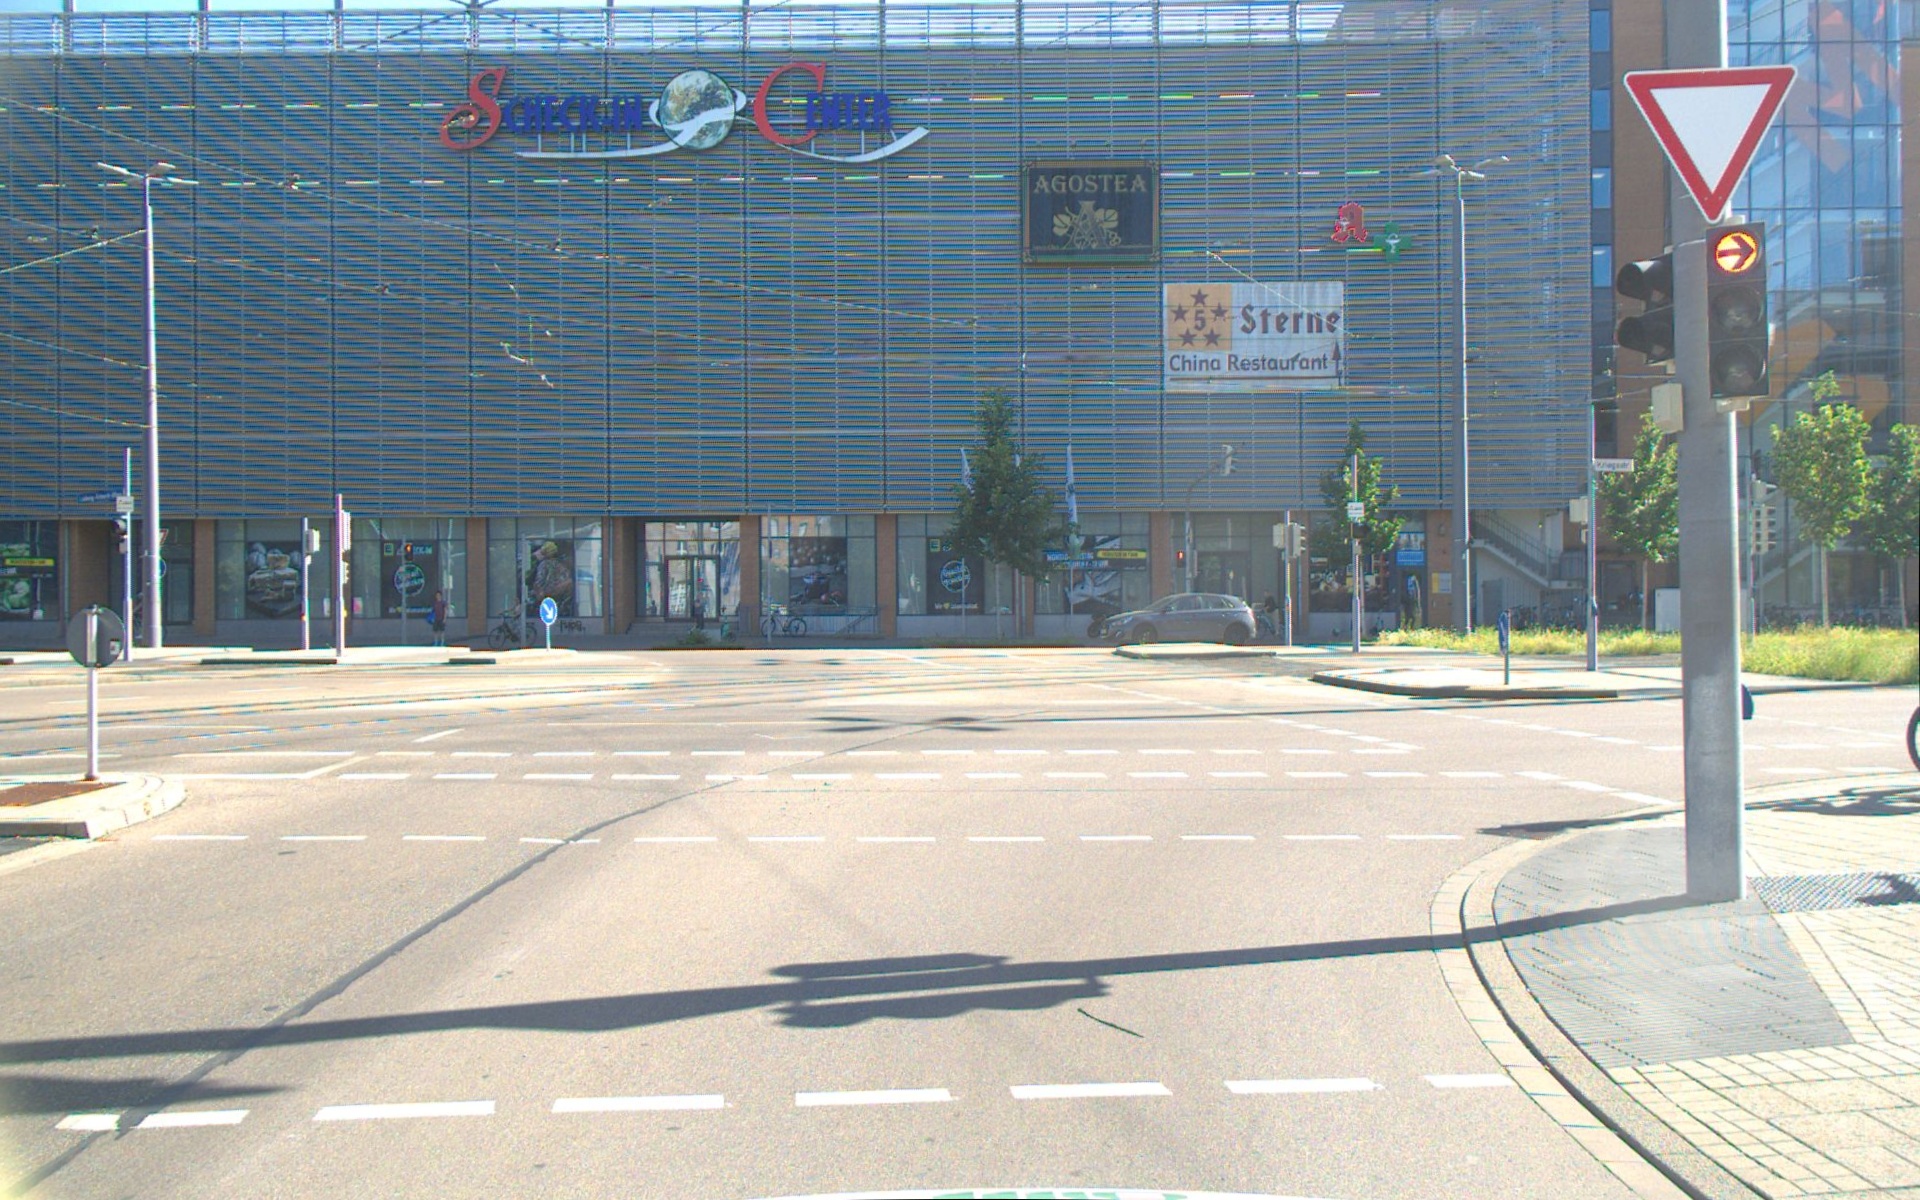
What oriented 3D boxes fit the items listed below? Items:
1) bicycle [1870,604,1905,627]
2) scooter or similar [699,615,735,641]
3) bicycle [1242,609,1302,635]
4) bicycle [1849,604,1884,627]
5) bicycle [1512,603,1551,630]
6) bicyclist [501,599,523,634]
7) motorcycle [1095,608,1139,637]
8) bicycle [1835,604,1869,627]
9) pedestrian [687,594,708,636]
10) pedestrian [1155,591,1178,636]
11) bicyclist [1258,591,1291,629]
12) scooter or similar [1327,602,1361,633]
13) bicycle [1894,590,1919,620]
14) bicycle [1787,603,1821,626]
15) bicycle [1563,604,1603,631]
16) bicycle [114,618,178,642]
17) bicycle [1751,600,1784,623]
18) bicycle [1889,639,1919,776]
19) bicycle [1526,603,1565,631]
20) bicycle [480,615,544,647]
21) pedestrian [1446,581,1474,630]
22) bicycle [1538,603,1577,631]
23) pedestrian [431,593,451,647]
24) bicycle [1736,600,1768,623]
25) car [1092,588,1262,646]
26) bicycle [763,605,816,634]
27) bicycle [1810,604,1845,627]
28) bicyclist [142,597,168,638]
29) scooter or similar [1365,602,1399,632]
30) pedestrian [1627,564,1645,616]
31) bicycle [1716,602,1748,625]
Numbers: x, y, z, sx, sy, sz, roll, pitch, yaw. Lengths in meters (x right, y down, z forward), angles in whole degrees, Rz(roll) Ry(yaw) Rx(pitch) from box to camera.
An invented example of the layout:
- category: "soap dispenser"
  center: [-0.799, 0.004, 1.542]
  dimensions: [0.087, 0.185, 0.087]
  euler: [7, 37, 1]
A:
- category: "bicycle"
  center: [35.725, 0.595, 63.725]
  dimensions: [0.435, 0.833, 1.449]
  euler: [0, 1, -6]
- category: "scooter or similar"
  center: [-8.249, 0.951, 56.196]
  dimensions: [1.198, 0.866, 0.301]
  euler: [0, 0, -4]
- category: "bicycle"
  center: [11.074, 0.771, 58.706]
  dimensions: [2.000, 0.882, 0.682]
  euler: [0, 0, -2]
- category: "bicycle"
  center: [34.828, 0.597, 63.569]
  dimensions: [0.435, 0.833, 1.449]
  euler: [0, 1, -6]
- category: "bicycle"
  center: [21.291, 0.607, 61.650]
  dimensions: [0.482, 0.971, 2.178]
  euler: [0, 1, -6]
- category: "bicyclist"
  center: [-14.775, 0.540, 54.562]
  dimensions: [0.557, 1.159, 0.553]
  euler: [0, 0, -34]
- category: "motorcycle"
  center: [5.772, 0.811, 60.736]
  dimensions: [1.581, 1.056, 0.402]
  euler: [0, 0, 0]
- category: "bicycle"
  center: [34.264, 0.598, 63.545]
  dimensions: [0.435, 0.833, 1.449]
  euler: [0, 1, -6]
- category: "pedestrian"
  center: [-9.541, 0.545, 60.108]
  dimensions: [0.633, 1.545, 0.491]
  euler: [0, 0, 4]
- category: "pedestrian"
  center: [6.945, 0.451, 55.584]
  dimensions: [0.723, 1.513, 0.490]
  euler: [0, 0, 9]
- category: "bicyclist"
  center: [11.156, 0.361, 58.709]
  dimensions: [1.015, 1.341, 0.682]
  euler: [0, 0, -2]
- category: "scooter or similar"
  center: [14.381, 0.646, 61.973]
  dimensions: [1.177, 1.122, 0.277]
  euler: [1, -1, 1]
- category: "bicycle"
  center: [38.763, 0.202, 66.727]
  dimensions: [0.736, 1.143, 2.178]
  euler: [0, 1, -6]
- category: "bicycle"
  center: [32.186, 0.565, 63.106]
  dimensions: [0.435, 0.833, 1.449]
  euler: [0, 1, -6]
- category: "bicycle"
  center: [23.336, 0.644, 61.977]
  dimensions: [0.482, 0.971, 2.178]
  euler: [0, 1, -6]
- category: "bicycle"
  center: [-28.775, 1.073, 58.473]
  dimensions: [1.974, 0.825, 0.559]
  euler: [0, 0, -2]
- category: "bicycle"
  center: [30.897, 0.438, 63.331]
  dimensions: [0.435, 0.833, 1.449]
  euler: [0, 1, -6]
- category: "bicycle"
  center: [7.799, 0.817, 12.248]
  dimensions: [0.593, 1.056, 1.893]
  euler: [-1, -1, -6]
- category: "bicycle"
  center: [21.827, 0.617, 61.719]
  dimensions: [0.482, 0.971, 2.178]
  euler: [0, 1, -6]
- category: "bicycle"
  center: [-14.768, 1.016, 54.556]
  dimensions: [1.997, 1.003, 0.553]
  euler: [0, 0, -34]
- category: "pedestrian"
  center: [17.711, 0.206, 58.600]
  dimensions: [0.763, 1.714, 0.595]
  euler: [0, 0, -14]
- category: "bicycle"
  center: [22.350, 0.627, 61.946]
  dimensions: [0.482, 0.971, 2.178]
  euler: [0, 1, -6]
- category: "pedestrian"
  center: [-17.200, 0.663, 54.788]
  dimensions: [0.614, 1.782, 0.586]
  euler: [0, 0, -19]
- category: "bicycle"
  center: [30.290, 0.445, 63.278]
  dimensions: [0.435, 0.833, 1.449]
  euler: [0, 1, -6]
- category: "car"
  center: [5.914, 0.444, 45.251]
  dimensions: [4.219, 1.526, 1.994]
  euler: [0, 0, -12]
- category: "bicycle"
  center: [-6.237, 0.718, 60.475]
  dimensions: [1.907, 1.056, 0.572]
  euler: [0, 0, -5]
- category: "bicycle"
  center: [32.986, 0.574, 62.893]
  dimensions: [0.435, 0.833, 1.449]
  euler: [0, 1, -6]
- category: "bicyclist"
  center: [-28.463, 0.610, 58.498]
  dimensions: [0.641, 1.435, 0.559]
  euler: [0, 0, -2]
- category: "scooter or similar"
  center: [15.866, 0.644, 62.154]
  dimensions: [1.177, 1.122, 0.277]
  euler: [1, -1, 1]
- category: "pedestrian"
  center: [25.554, -0.381, 62.557]
  dimensions: [0.528, 1.948, 0.374]
  euler: [1, -1, 7]
- category: "bicycle"
  center: [29.409, 0.516, 63.000]
  dimensions: [0.435, 0.833, 1.449]
  euler: [0, 1, -6]
